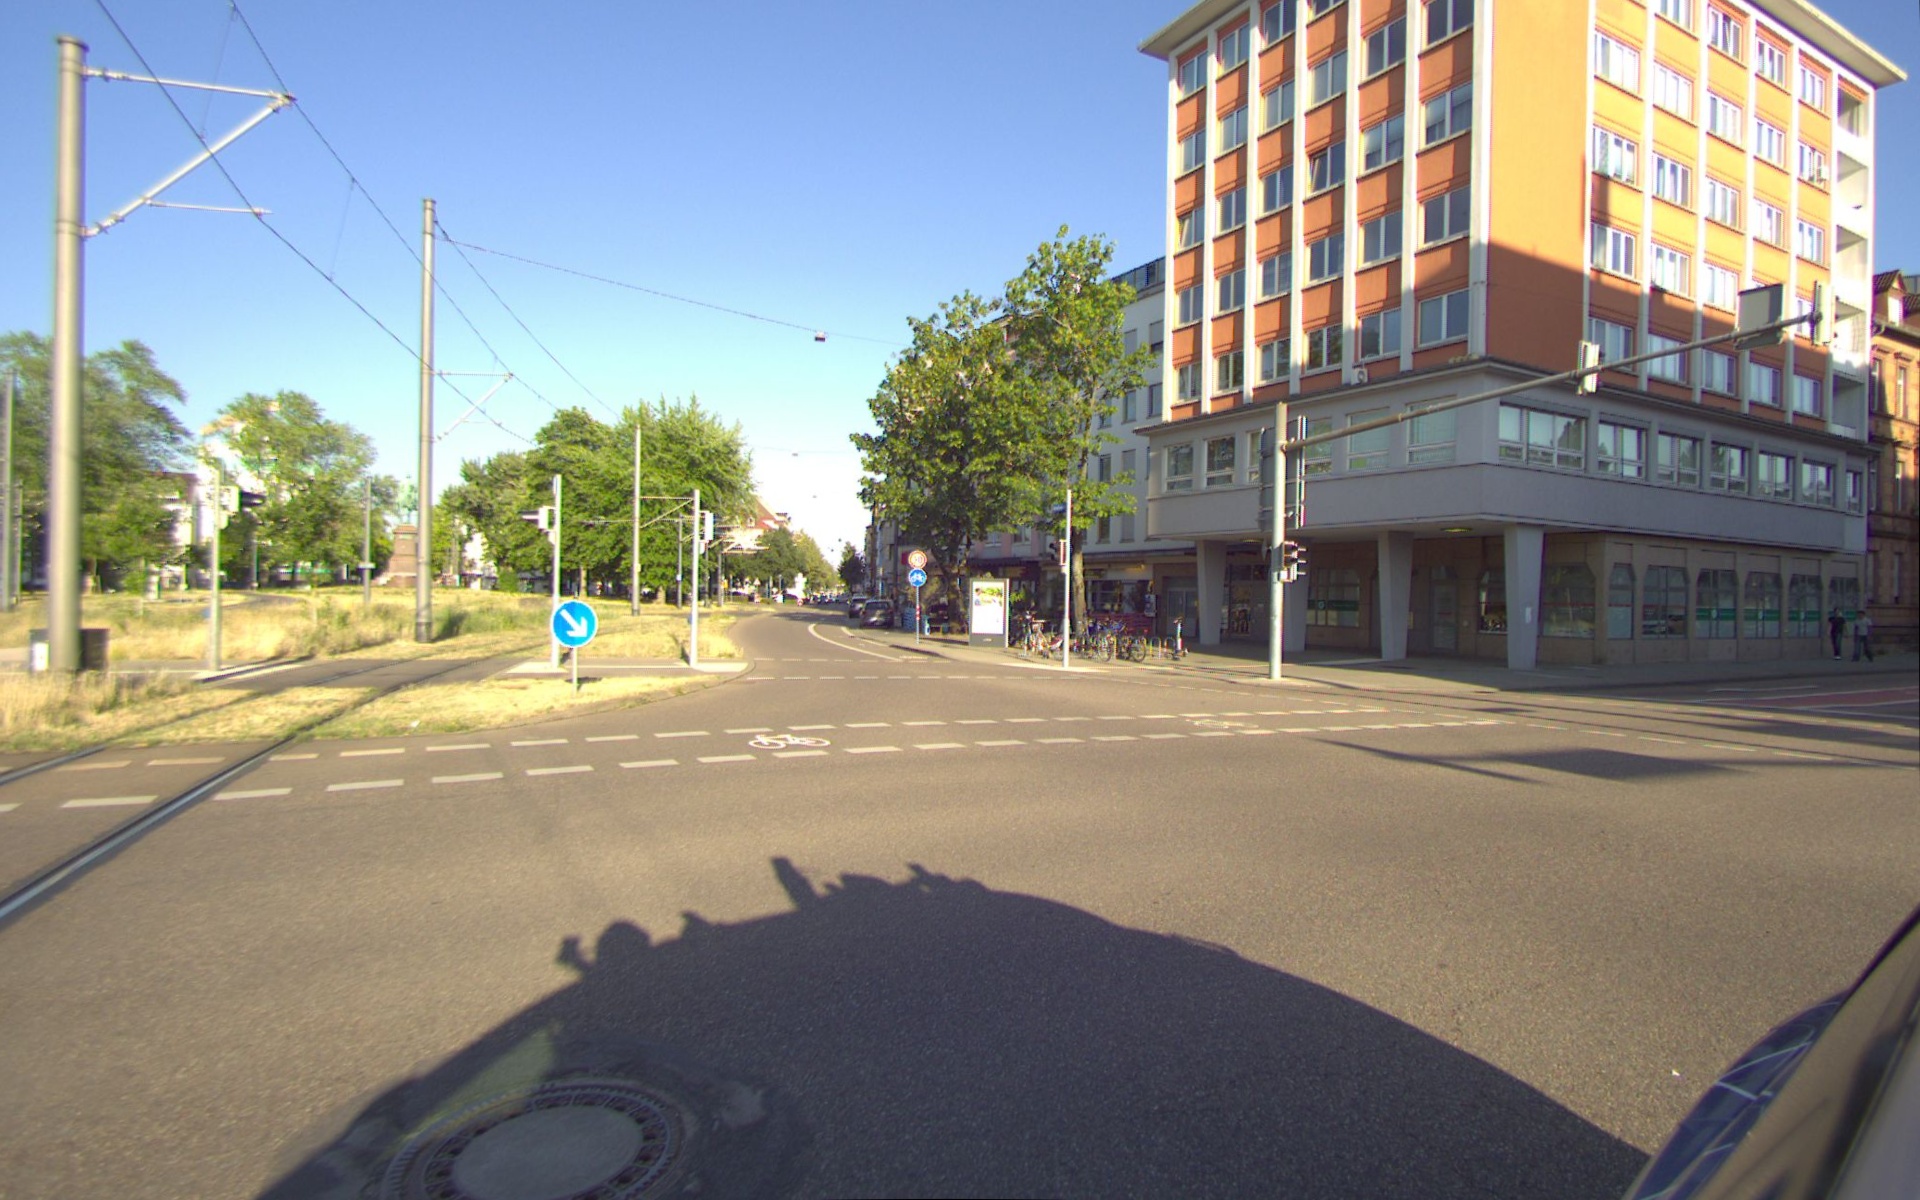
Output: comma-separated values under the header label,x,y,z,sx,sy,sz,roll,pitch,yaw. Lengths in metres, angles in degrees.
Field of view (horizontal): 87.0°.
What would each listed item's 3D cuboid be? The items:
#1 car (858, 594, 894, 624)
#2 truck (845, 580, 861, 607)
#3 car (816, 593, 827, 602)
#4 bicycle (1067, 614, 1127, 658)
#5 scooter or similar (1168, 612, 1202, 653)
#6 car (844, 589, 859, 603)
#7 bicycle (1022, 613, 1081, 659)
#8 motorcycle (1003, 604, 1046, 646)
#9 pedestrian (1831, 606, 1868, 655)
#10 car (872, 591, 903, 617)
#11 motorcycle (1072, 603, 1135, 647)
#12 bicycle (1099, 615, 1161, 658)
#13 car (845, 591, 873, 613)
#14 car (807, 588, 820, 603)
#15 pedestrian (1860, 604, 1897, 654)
label,x,y,z,sx,sy,sz,roll,pitch,yaw
car,-4.310,0.418,51.819,1.607,1.446,3.641,1,0,-8
truck,-13.001,-0.805,122.842,1.705,3.261,6.417,1,0,-8
car,-21.986,-0.388,160.871,1.643,1.341,3.782,1,0,-8
bicycle,3.968,1.035,29.499,0.582,1.128,2.010,2,2,-30
scooter or similar,7.397,1.060,33.333,0.474,1.251,1.565,1,1,-10
car,-13.944,-0.472,129.901,1.735,1.723,3.585,1,0,-8
bicycle,2.568,0.995,28.684,0.582,1.129,1.980,2,2,-31
motorcycle,2.196,0.840,34.744,0.872,1.324,2.061,0,1,-14
pedestrian,32.417,1.114,36.897,0.990,1.748,0.669,1,0,-27
car,-4.475,0.220,62.246,1.607,1.566,3.641,1,0,-8
motorcycle,4.789,0.818,33.689,2.226,1.410,0.842,1,-1,-41
bicycle,5.033,1.065,30.136,0.582,1.128,2.064,2,2,-31
car,-7.710,0.156,76.983,1.924,1.576,3.879,1,0,-8
car,-18.670,-0.626,129.306,1.616,1.836,3.494,1,0,-8
pedestrian,32.894,1.025,36.240,0.990,1.748,0.669,1,0,-28
